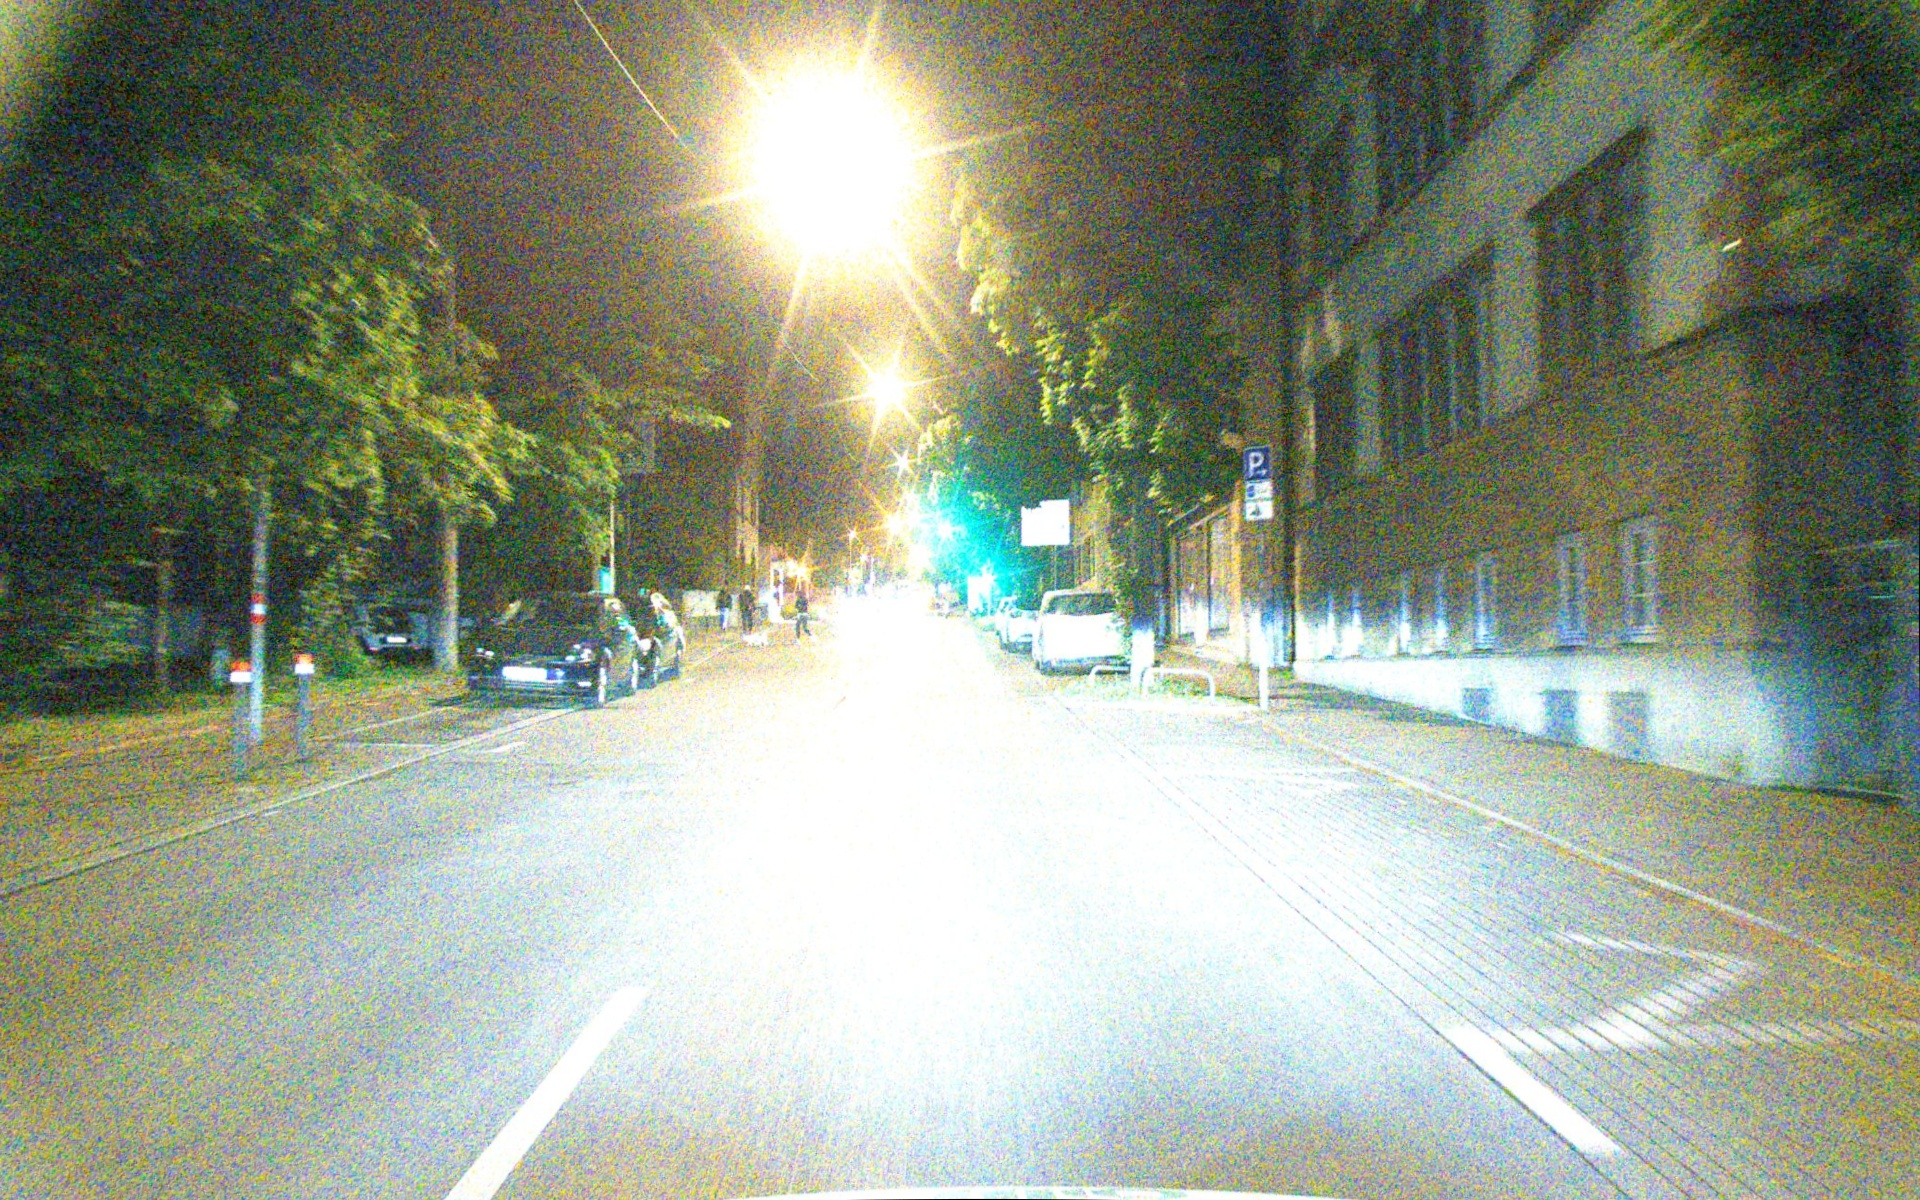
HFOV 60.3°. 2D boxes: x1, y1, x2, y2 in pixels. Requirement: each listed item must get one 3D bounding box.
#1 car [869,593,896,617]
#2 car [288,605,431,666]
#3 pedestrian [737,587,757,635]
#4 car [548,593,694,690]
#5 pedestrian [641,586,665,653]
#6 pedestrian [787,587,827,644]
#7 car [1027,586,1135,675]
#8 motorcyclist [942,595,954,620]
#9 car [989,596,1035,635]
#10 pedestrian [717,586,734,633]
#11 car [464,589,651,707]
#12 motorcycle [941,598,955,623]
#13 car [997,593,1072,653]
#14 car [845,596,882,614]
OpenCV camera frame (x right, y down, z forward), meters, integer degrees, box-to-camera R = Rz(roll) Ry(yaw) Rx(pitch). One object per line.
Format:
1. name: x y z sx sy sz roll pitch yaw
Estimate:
1. car: -5.824 0.374 124.738 1.905 1.747 3.999 1 -1 -1
2. car: -15.192 0.885 41.827 3.197 1.478 1.790 0 -1 32
3. pedestrian: -7.978 0.412 61.952 0.705 1.796 0.602 1 -1 -10
4. car: -5.708 0.644 28.378 1.686 1.462 4.808 1 1 -3
5. pedestrian: -7.971 0.503 43.000 0.570 1.729 0.530 1 -1 -9
6. pedestrian: -4.810 0.495 52.115 0.752 1.729 0.923 3 0 37
7. car: 2.377 0.563 33.445 1.775 1.622 4.273 -2 0 -1
8. motorcyclist: -0.875 0.558 119.662 0.831 1.783 0.805 1 -1 -1
9. car: 2.066 0.602 66.315 1.596 1.522 3.413 1 0 -3
10. pedestrian: -8.724 0.342 61.521 0.559 1.729 0.927 1 -1 -10
11. car: -5.493 0.603 23.074 1.686 1.463 4.189 1 0 -2
12. motorcycle: -0.874 0.764 119.662 0.912 1.783 2.624 1 -1 -1
13. car: 2.058 0.614 46.667 1.831 1.553 4.149 -2 0 -1
14. car: -8.085 0.414 139.069 1.680 1.483 3.922 0 -1 20
